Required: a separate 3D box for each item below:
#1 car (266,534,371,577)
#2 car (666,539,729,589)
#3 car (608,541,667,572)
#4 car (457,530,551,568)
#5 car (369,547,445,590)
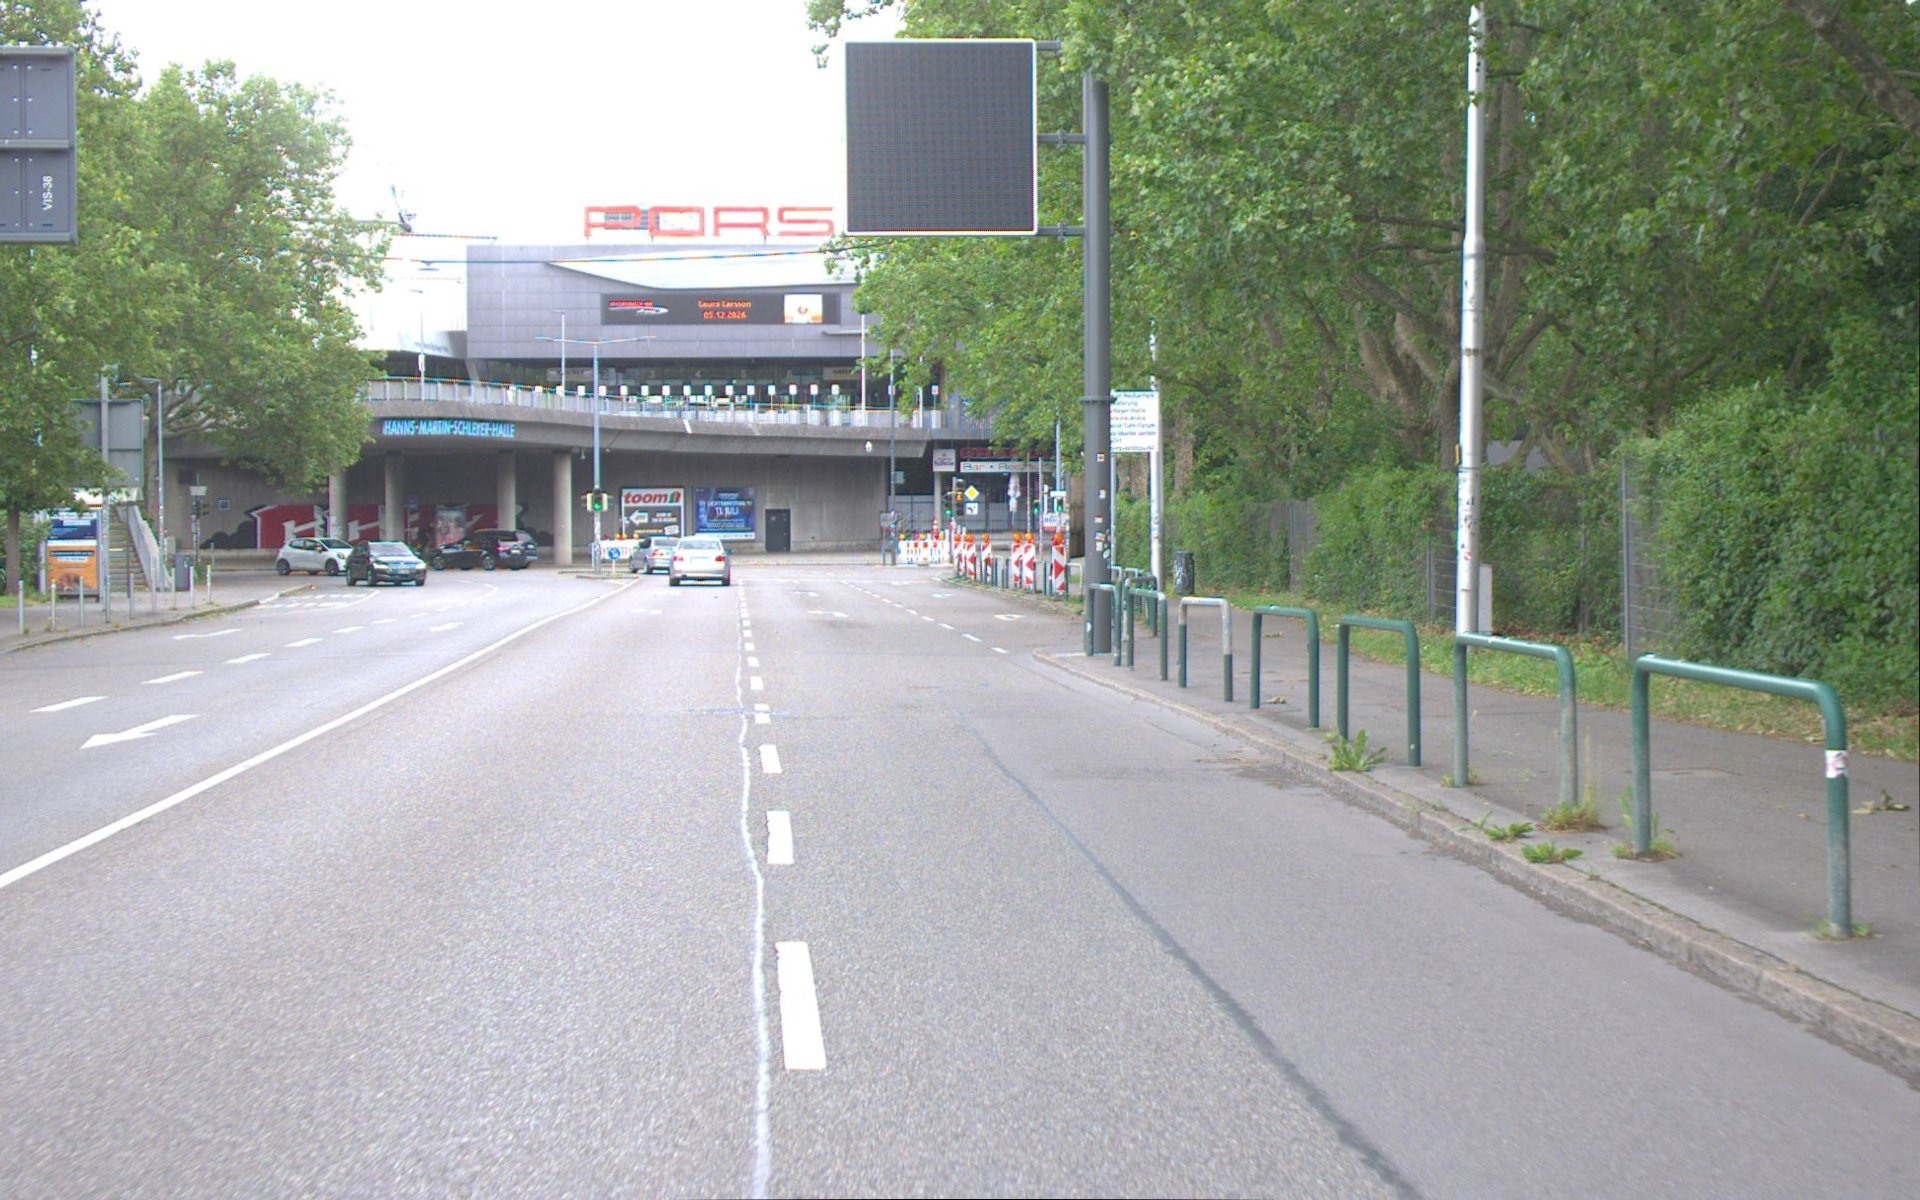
[{"bbox_3d":[-24.281,-1.686,130.013,3.877,1.573,1.623,0,1,35],"label":"car"},{"bbox_3d":[-7.980,-1.116,104.657,1.778,1.455,3.822,1,1,-3],"label":"car"},{"bbox_3d":[-12.075,-1.629,128.633,1.411,1.109,3.039,1,1,-21],"label":"car"},{"bbox_3d":[-18.586,-2.078,139.927,1.994,1.481,3.999,-1,2,-39],"label":"car"},{"bbox_3d":[-17.871,-1.029,111.010,1.656,1.268,3.585,1,1,-21],"label":"car"}]
